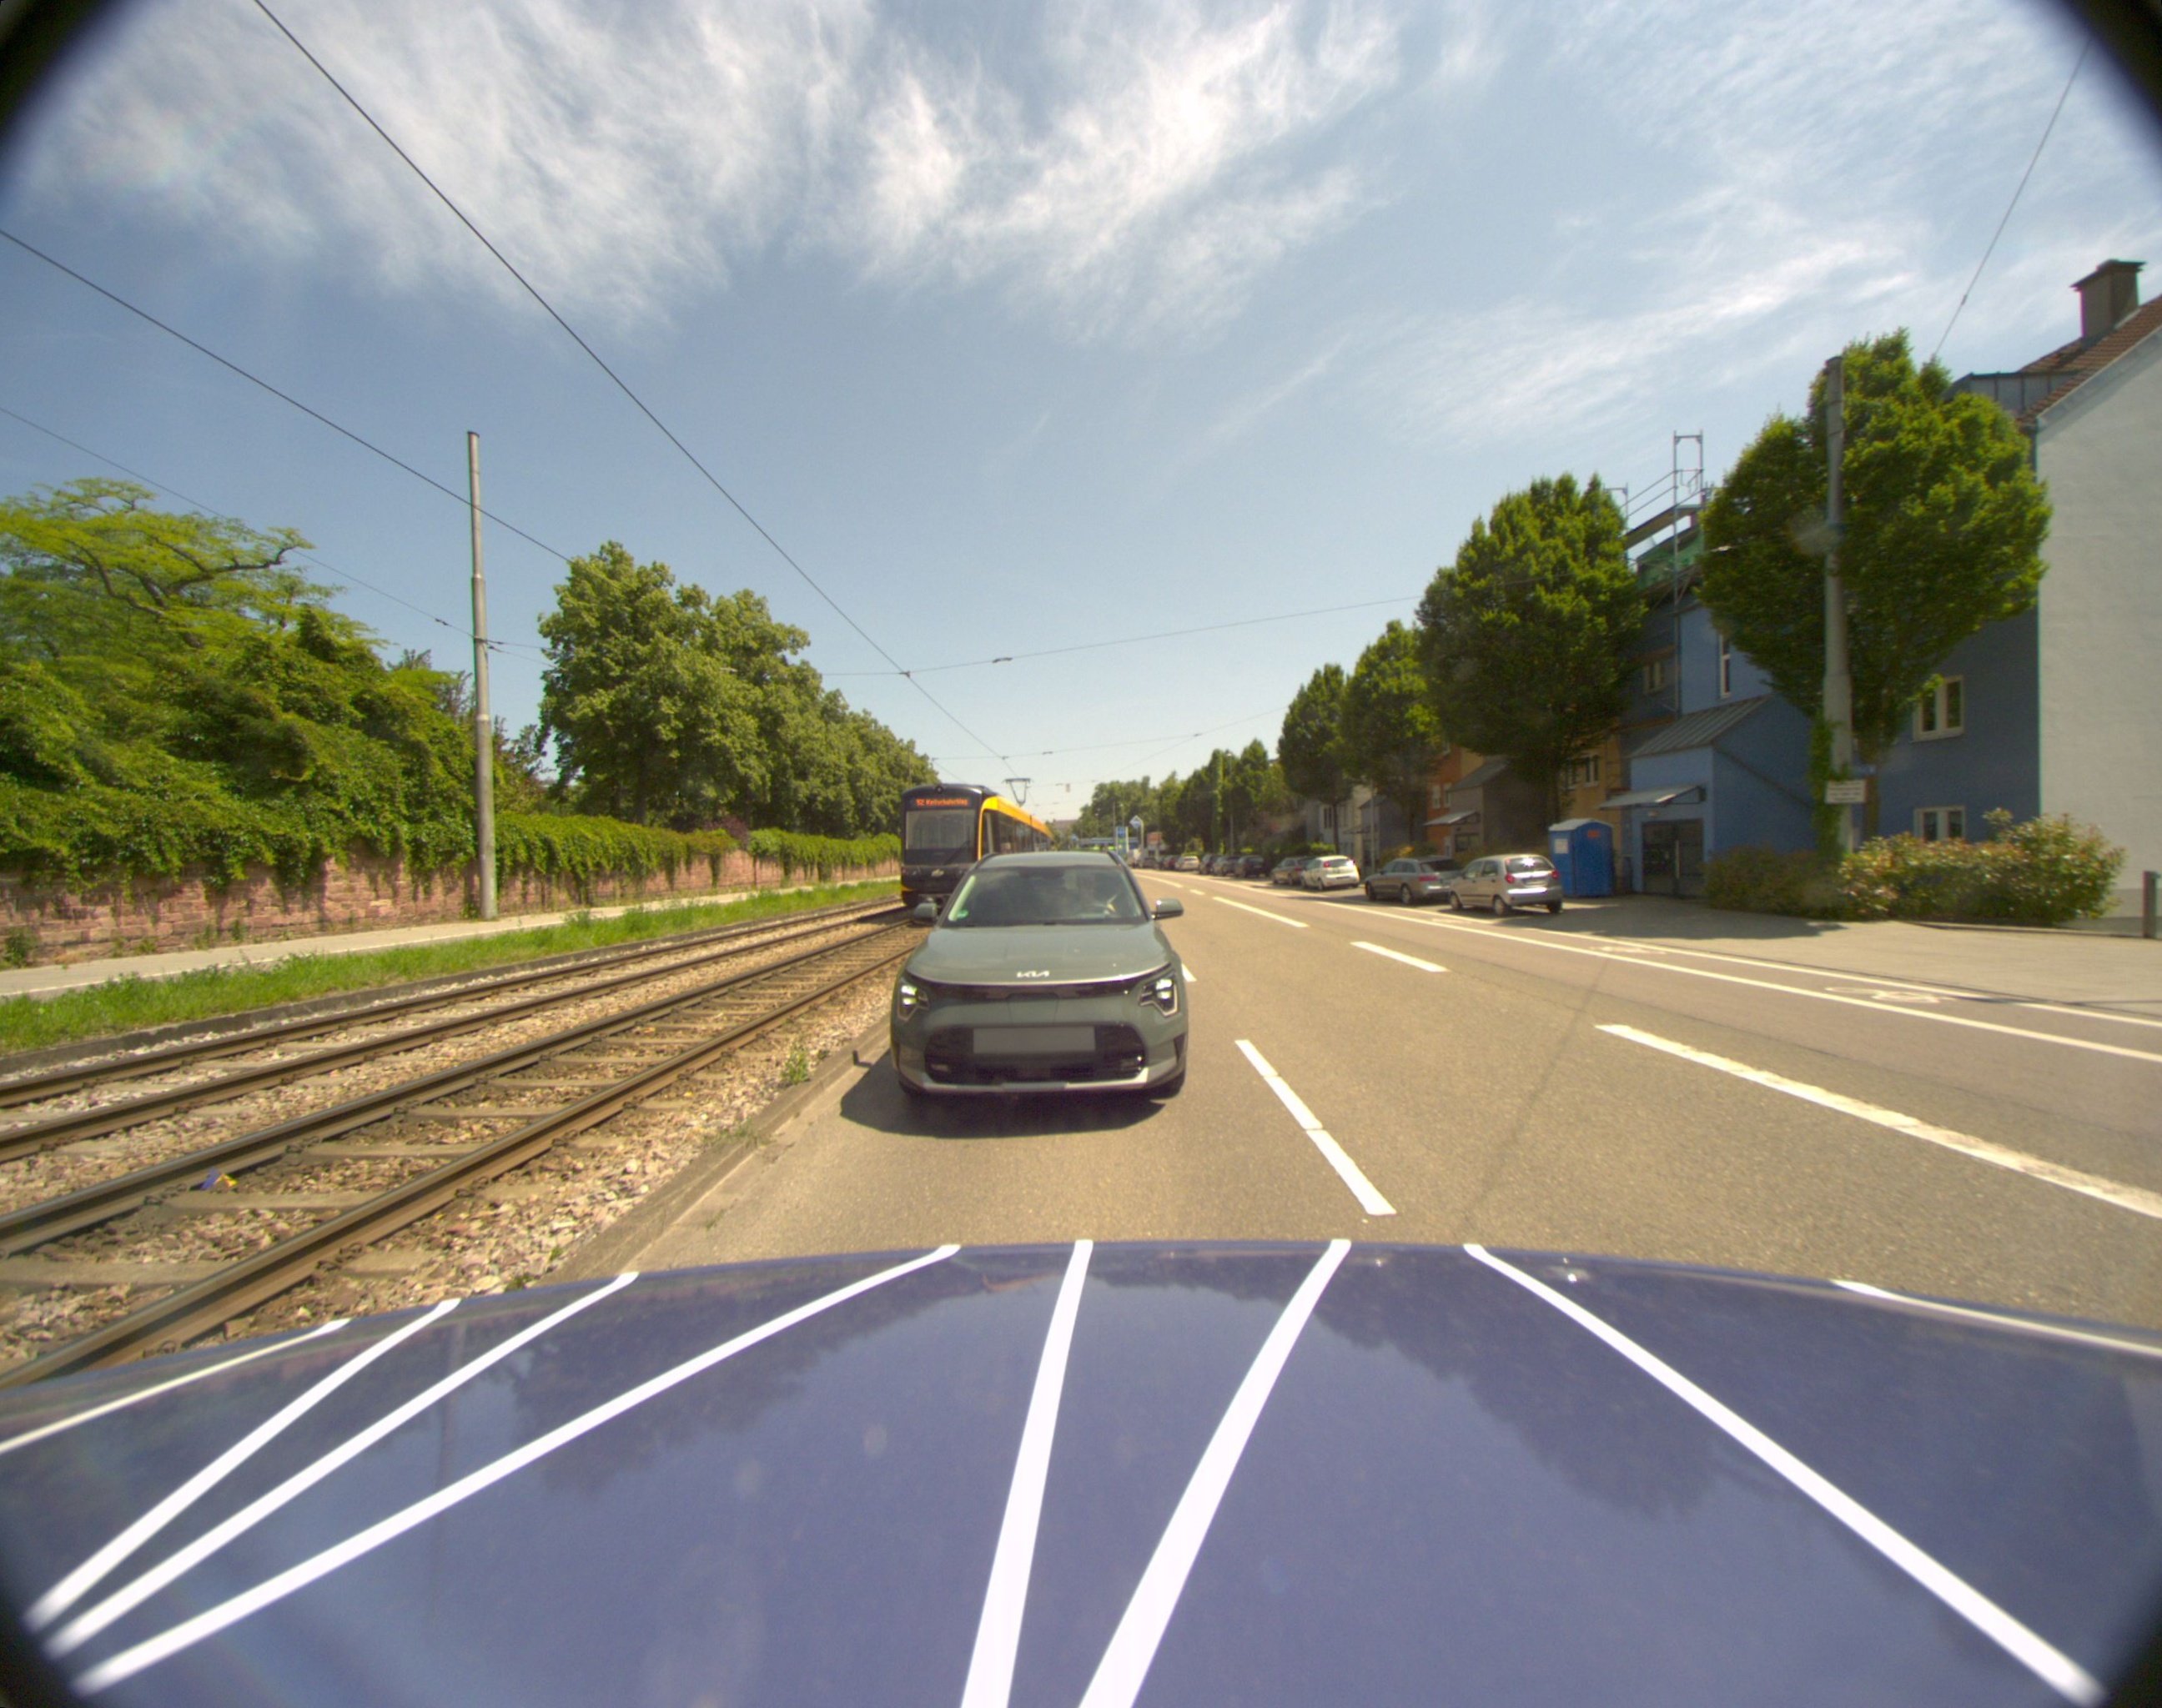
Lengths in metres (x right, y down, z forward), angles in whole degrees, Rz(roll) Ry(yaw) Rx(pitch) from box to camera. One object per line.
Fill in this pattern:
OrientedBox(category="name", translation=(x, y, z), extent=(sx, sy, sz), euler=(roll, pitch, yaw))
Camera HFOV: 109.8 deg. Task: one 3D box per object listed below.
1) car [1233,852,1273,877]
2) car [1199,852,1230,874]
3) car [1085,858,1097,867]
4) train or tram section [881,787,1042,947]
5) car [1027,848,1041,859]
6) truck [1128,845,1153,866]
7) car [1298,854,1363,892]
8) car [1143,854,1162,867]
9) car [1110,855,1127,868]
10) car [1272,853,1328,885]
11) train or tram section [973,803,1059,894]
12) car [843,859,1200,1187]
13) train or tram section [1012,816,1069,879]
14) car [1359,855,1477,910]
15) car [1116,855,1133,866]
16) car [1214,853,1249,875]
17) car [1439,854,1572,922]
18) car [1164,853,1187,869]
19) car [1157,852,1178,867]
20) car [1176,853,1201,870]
OrientedBox(category="car", translation=(11.591, 0.656, 51.578), extent=(1.656, 1.487, 4.082), euler=(-5, 0, 0))
OrientedBox(category="car", translation=(10.965, 0.726, 62.671), extent=(1.656, 1.578, 4.082), euler=(-5, 0, 0))
OrientedBox(category="car", translation=(1.731, 1.501, 131.110), extent=(1.865, 1.487, 3.470), euler=(-1, 0, -1))
OrientedBox(category="train or tram section", translation=(-3.260, 0.242, 25.546), extent=(2.813, 3.785, 14.260), euler=(-2, 1, 1))
OrientedBox(category="car", translation=(-6.886, -0.048, 111.977), extent=(1.865, 1.487, 3.470), euler=(-1, 0, -1))
OrientedBox(category="truck", translation=(7.793, 0.210, 99.789), extent=(2.135, 2.565, 4.861), euler=(-5, 0, -8))
OrientedBox(category="car", translation=(11.390, 0.829, 34.885), extent=(1.656, 1.487, 3.649), euler=(-5, 0, 0))
OrientedBox(category="car", translation=(8.838, 0.797, 93.799), extent=(1.865, 1.487, 3.470), euler=(-5, 0, 0))
OrientedBox(category="car", translation=(4.821, 0.983, 98.853), extent=(1.865, 1.487, 3.470), euler=(-5, 0, 0))
OrientedBox(category="car", translation=(11.507, 0.740, 40.216), extent=(1.656, 1.487, 4.082), euler=(-5, 0, 0))
OrientedBox(category="train or tram section", translation=(-2.986, -0.315, 39.761), extent=(2.783, 3.789, 14.261), euler=(-2, 1, 1))
OrientedBox(category="car", translation=(-0.273, 0.877, 6.079), extent=(1.759, 1.574, 4.427), euler=(-2, 0, 1))
OrientedBox(category="train or tram section", translation=(-2.624, -0.494, 54.012), extent=(2.783, 3.786, 14.261), euler=(-2, 1, 1))
OrientedBox(category="car", translation=(10.898, 0.846, 24.969), extent=(1.680, 1.487, 4.638), euler=(-5, 0, 0))
OrientedBox(category="car", translation=(6.358, 0.999, 111.522), extent=(1.866, 1.487, 3.468), euler=(-5, 0, -8))
OrientedBox(category="car", translation=(11.102, 0.700, 56.438), extent=(1.656, 1.487, 4.082), euler=(-5, 0, 0))
OrientedBox(category="car", translation=(10.954, 0.823, 19.851), extent=(1.505, 1.487, 3.282), euler=(-5, 0, 0))
OrientedBox(category="car", translation=(9.881, 0.691, 79.874), extent=(1.865, 1.487, 3.470), euler=(-5, 0, 0))
OrientedBox(category="car", translation=(9.598, 0.638, 84.681), extent=(1.865, 1.487, 3.470), euler=(-5, 0, 0))
OrientedBox(category="car", translation=(10.457, 0.713, 74.166), extent=(1.723, 1.487, 4.082), euler=(-5, 0, 0))
